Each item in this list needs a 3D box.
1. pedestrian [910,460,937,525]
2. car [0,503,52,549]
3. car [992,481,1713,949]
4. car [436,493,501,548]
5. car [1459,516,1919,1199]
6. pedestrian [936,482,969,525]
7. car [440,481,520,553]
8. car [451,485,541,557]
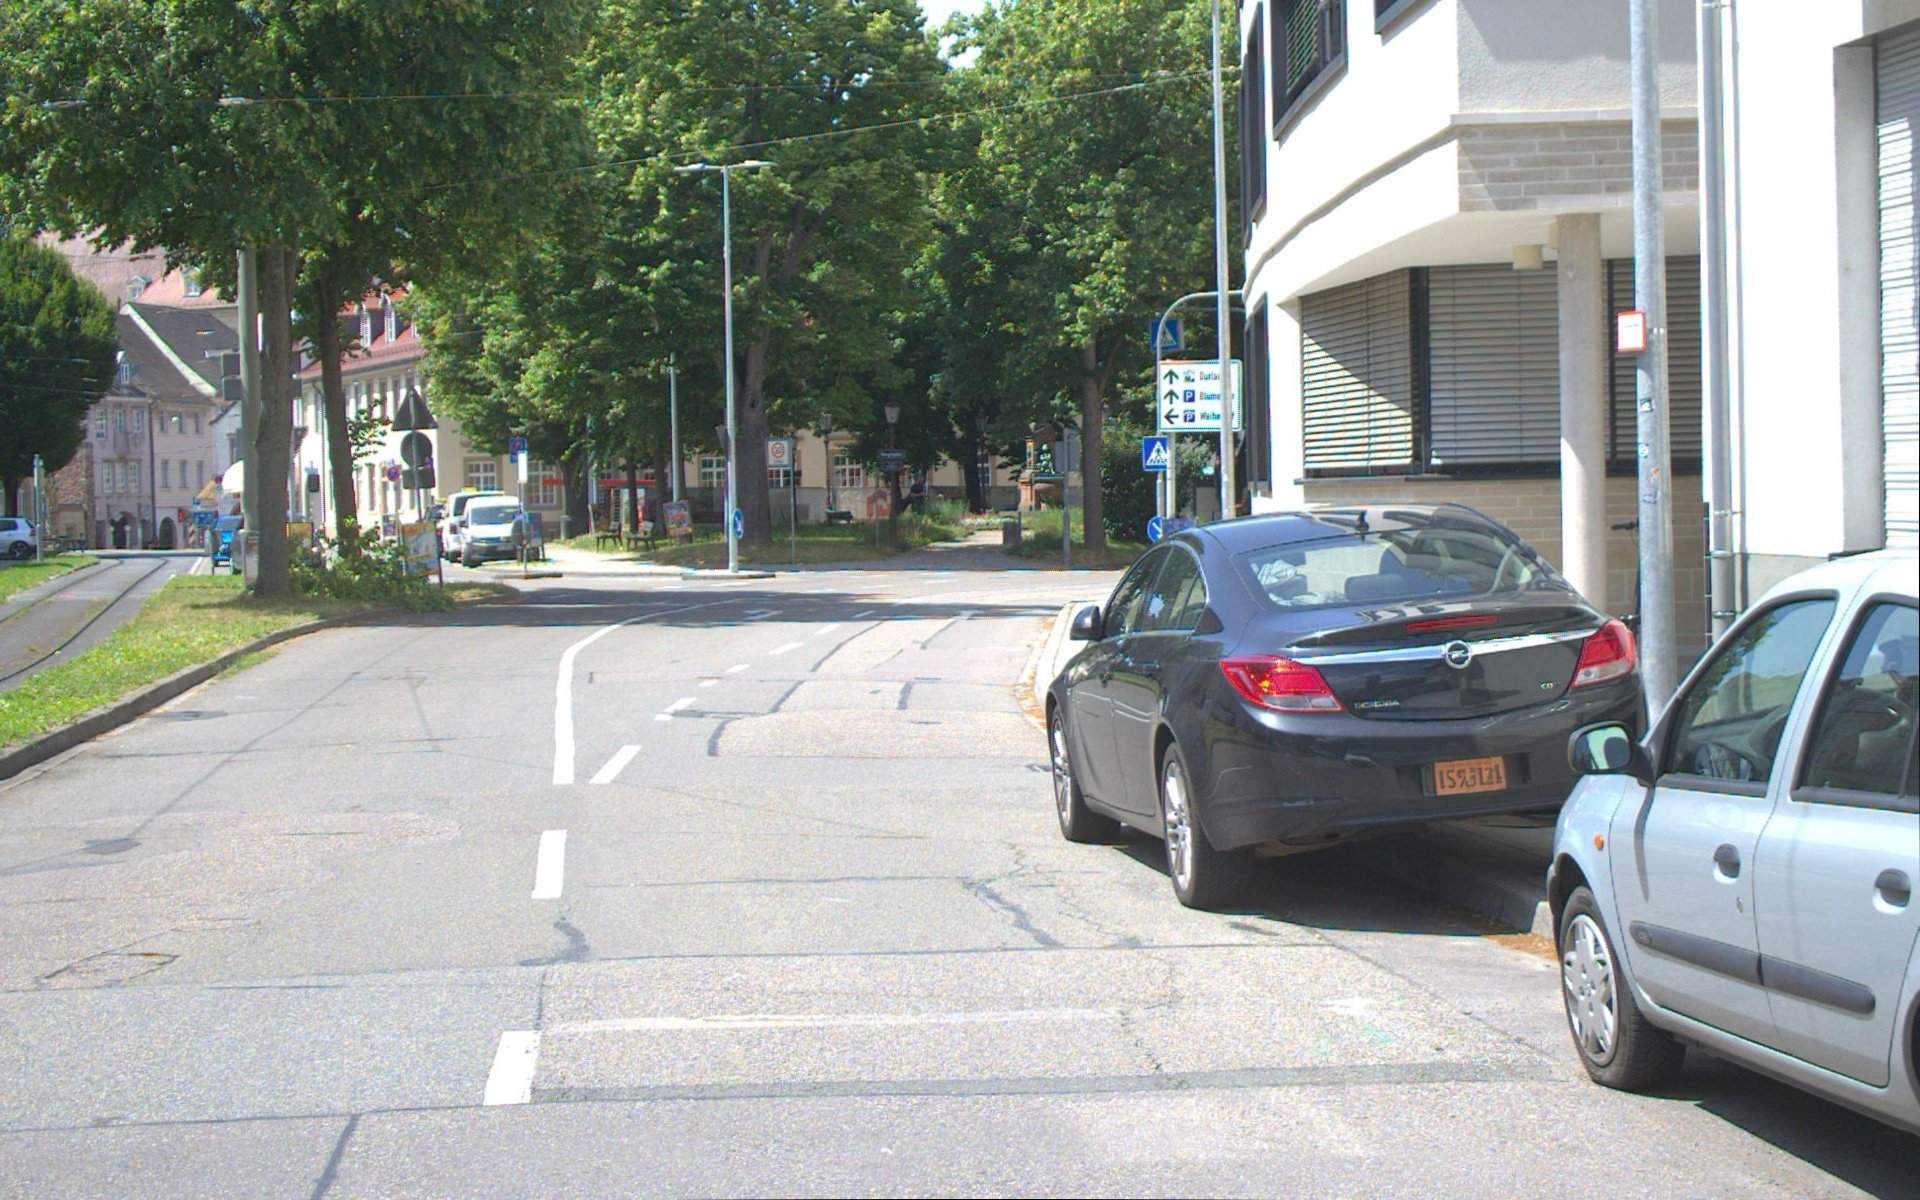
[{"bbox_3d":[-1.100,-3.227,103.215,0.748,1.904,0.684,0,3,4],"label":"pedestrian"},{"bbox_3d":[-33.754,-2.529,119.417,4.201,1.499,2.005,-3,2,-15],"label":"car"},{"bbox_3d":[1.430,0.364,14.448,1.799,1.504,4.549,-5,2,-8],"label":"car"},{"bbox_3d":[-15.170,-2.468,106.007,1.782,1.618,4.487,-1,2,-10],"label":"car"},{"bbox_3d":[2.451,0.557,7.848,1.592,1.428,3.707,-5,2,-6],"label":"car"},{"bbox_3d":[-0.213,-2.886,103.116,0.906,1.247,1.148,0,3,4],"label":"pedestrian"},{"bbox_3d":[-13.806,-2.407,98.661,2.049,1.995,5.251,-1,2,-10],"label":"car"},{"bbox_3d":[-12.216,-2.107,90.275,1.993,1.820,4.424,-1,2,-12],"label":"car"}]
